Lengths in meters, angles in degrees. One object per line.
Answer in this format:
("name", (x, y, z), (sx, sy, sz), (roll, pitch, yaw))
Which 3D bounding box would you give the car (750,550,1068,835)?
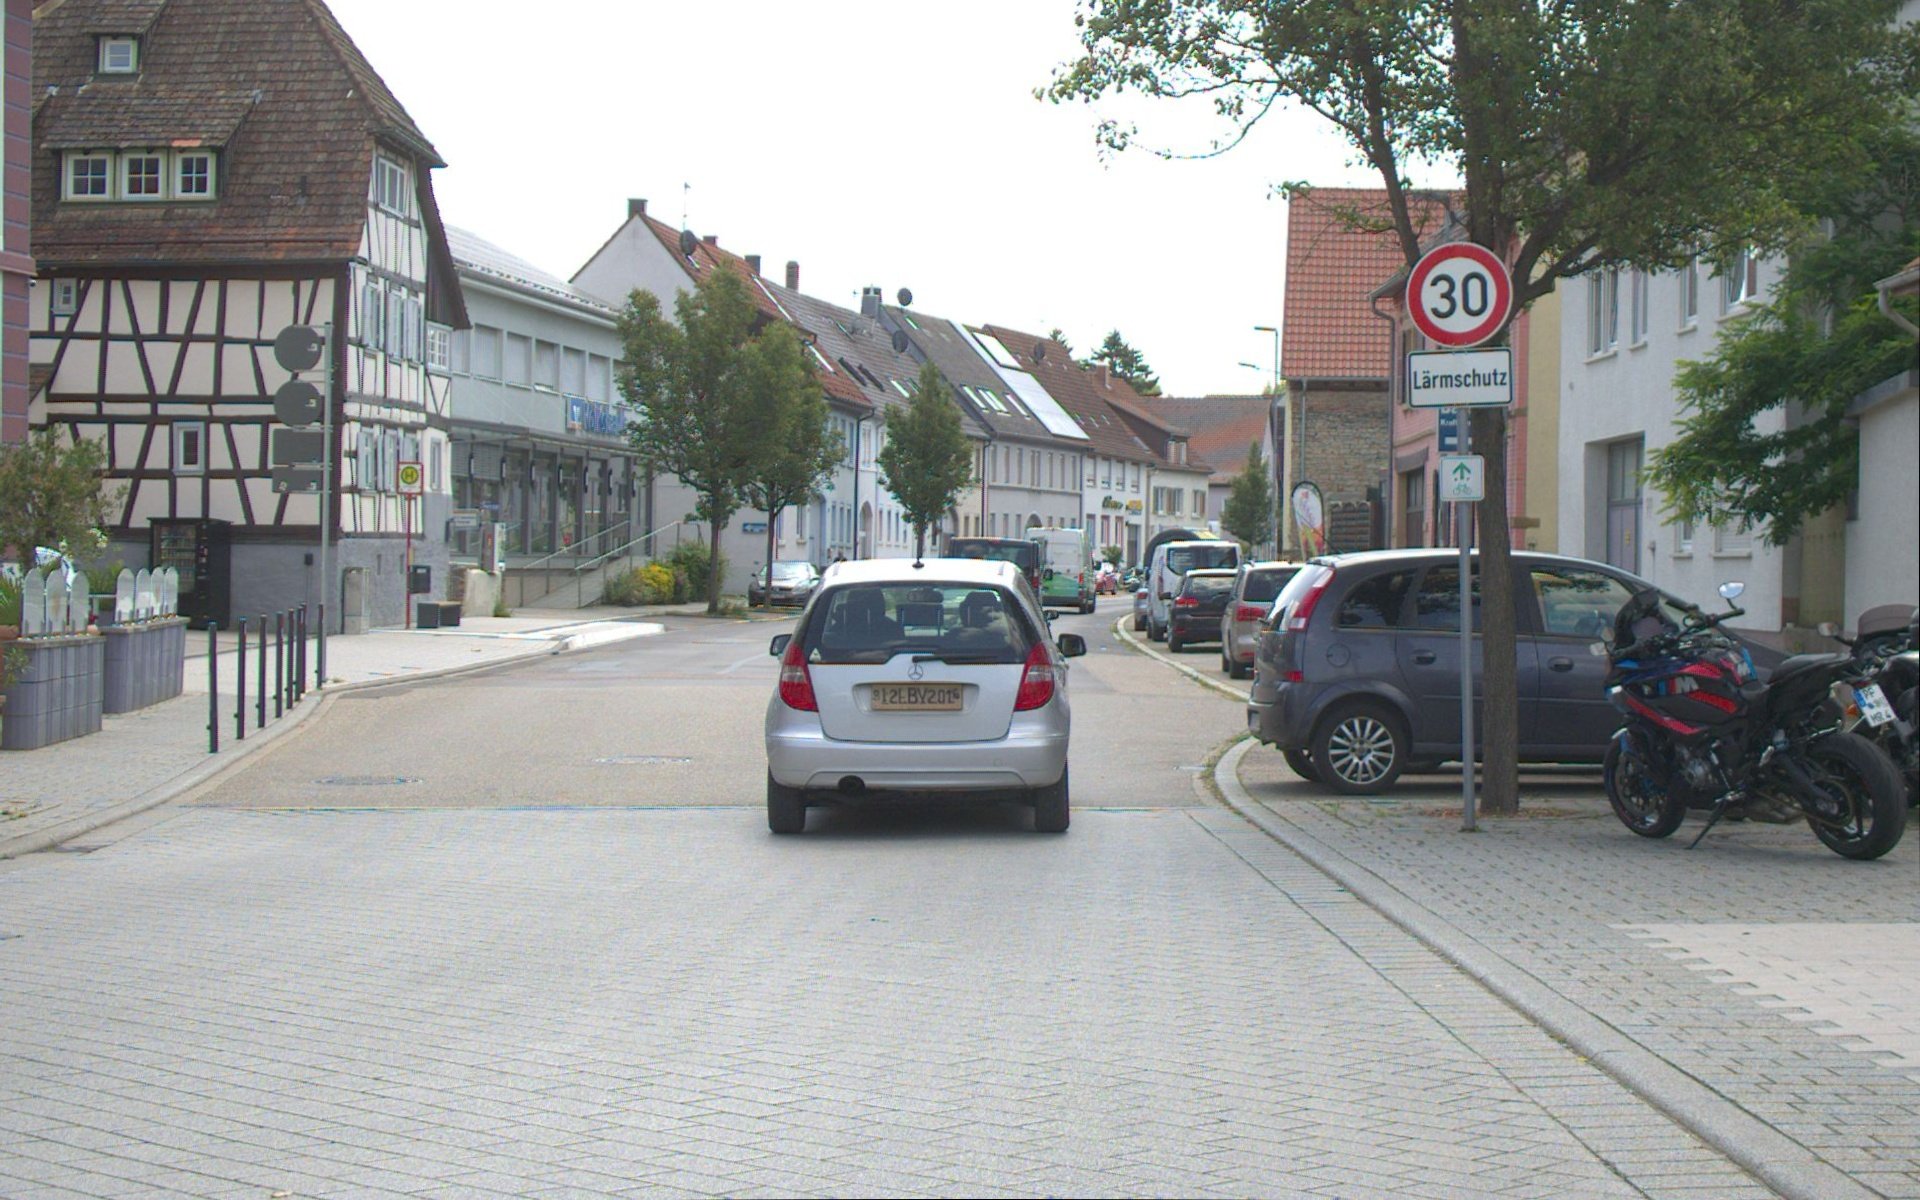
("car", (-0.234, 0.501, 21.187), (1.769, 1.589, 4.000), (0, 0, 1))

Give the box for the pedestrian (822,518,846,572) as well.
("pedestrian", (-4.213, -1.820, 114.886), (0.739, 1.795, 0.642), (0, 0, 3))

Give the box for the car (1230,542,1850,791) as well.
("car", (3.866, 0.421, 23.379), (3.848, 1.572, 1.851), (-1, 1, -2))

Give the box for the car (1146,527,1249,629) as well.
("car", (4.861, -0.473, 70.878), (1.892, 1.975, 4.931), (-1, 1, 2))

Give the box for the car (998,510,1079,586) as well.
("car", (2.383, -1.528, 102.945), (2.236, 2.215, 3.999), (0, 0, 4))

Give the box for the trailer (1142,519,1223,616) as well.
("trailer", (5.515, -0.814, 85.565), (1.845, 2.346, 3.589), (0, 1, 1))

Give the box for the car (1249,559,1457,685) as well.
("car", (4.996, 0.245, 44.273), (1.993, 1.512, 4.372), (1, 1, -2))

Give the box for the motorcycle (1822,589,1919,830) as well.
("motorcycle", (5.597, 0.596, 19.933), (0.959, 1.294, 2.225), (-1, 1, 9))

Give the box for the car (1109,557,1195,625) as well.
("car", (4.457, -0.244, 80.384), (1.875, 1.476, 4.674), (2, 1, 2))

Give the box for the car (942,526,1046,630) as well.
("car", (0.706, -0.431, 67.658), (1.769, 1.881, 4.446), (3, 0, 3))

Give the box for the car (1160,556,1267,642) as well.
("car", (4.605, -0.043, 62.968), (1.774, 1.490, 4.161), (1, 1, 2))

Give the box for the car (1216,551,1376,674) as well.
("car", (4.784, 0.142, 49.486), (1.993, 1.675, 4.323), (1, 1, 2))

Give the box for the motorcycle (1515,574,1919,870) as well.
("motorcycle", (4.012, 0.579, 17.551), (2.224, 1.390, 0.870), (1, 1, 45))

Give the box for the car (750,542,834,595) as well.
("car", (-4.791, -0.912, 98.487), (1.805, 1.455, 4.157), (2, 1, 5))

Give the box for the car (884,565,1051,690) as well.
("car", (0.131, 0.304, 42.525), (1.945, 1.402, 4.000), (1, 1, 1))

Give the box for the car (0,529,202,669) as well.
("car", (-10.740, -0.043, 41.712), (1.758, 1.487, 4.275), (5, 1, 4))
